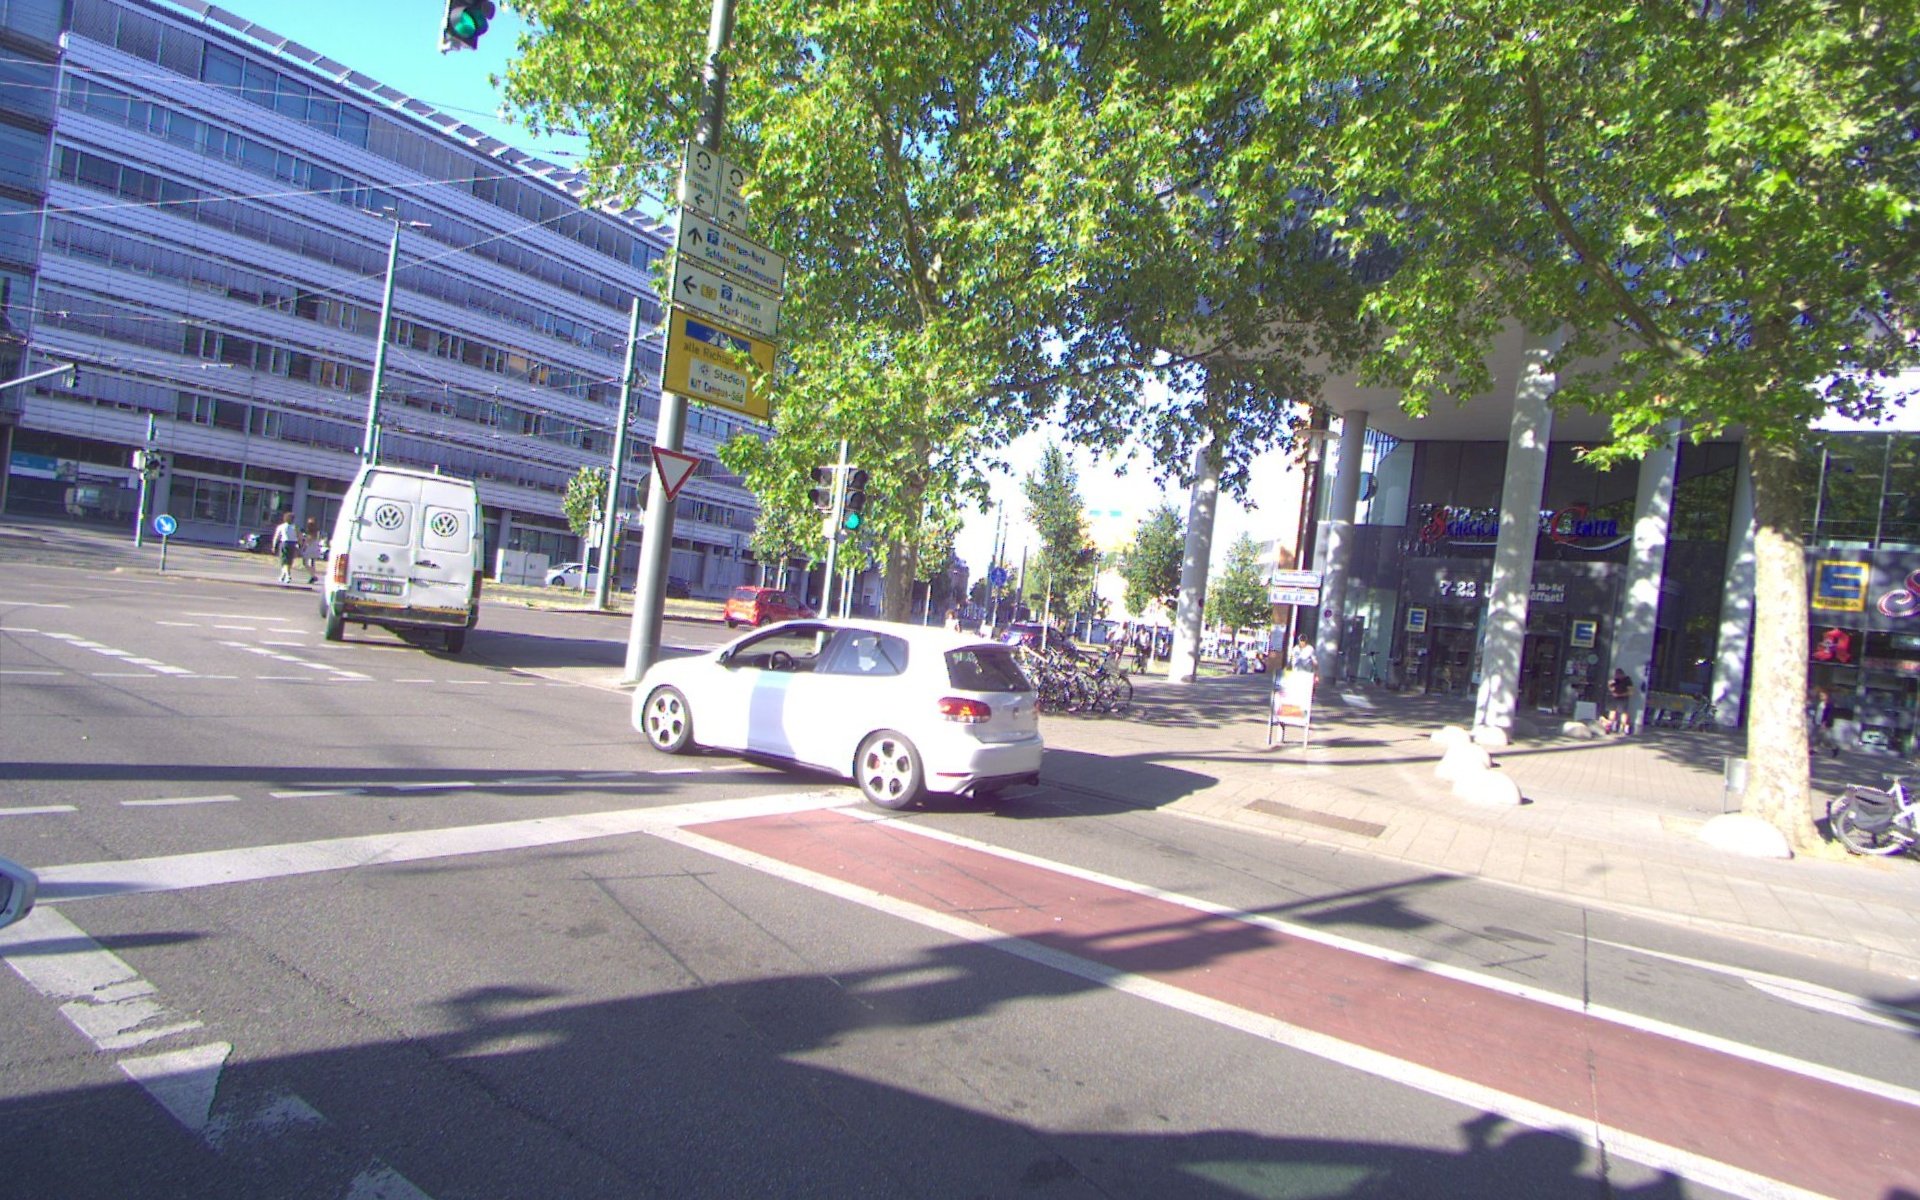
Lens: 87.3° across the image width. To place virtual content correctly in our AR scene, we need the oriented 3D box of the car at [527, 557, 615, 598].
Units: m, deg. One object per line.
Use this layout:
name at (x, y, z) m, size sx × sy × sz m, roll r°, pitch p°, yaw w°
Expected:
car at (-21.092, -1.180, 54.726) m, size 1.852 × 1.614 × 3.991 m, roll 6°, pitch -2°, yaw 35°

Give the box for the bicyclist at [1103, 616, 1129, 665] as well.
bicyclist at (5.057, 1.305, 32.537) m, size 0.581 × 1.504 × 0.750 m, roll 5°, pitch 1°, yaw 19°

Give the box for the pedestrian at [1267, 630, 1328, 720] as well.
pedestrian at (7.681, 1.688, 22.919) m, size 0.800 × 1.913 × 0.871 m, roll 5°, pitch 1°, yaw -16°

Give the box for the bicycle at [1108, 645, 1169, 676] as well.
bicycle at (6.624, 2.243, 37.335) m, size 2.073 × 0.964 × 0.744 m, roll 6°, pitch 1°, yaw -25°

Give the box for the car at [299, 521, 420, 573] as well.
car at (-27.365, -2.379, 45.965) m, size 1.854 × 1.744 × 4.256 m, roll 7°, pitch 0°, yaw 34°

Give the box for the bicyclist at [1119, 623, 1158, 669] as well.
bicyclist at (6.626, 1.708, 37.318) m, size 1.017 × 1.585 × 0.804 m, roll 7°, pitch -1°, yaw -24°

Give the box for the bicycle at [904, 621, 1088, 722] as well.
bicycle at (0.548, 1.136, 16.316) m, size 2.896 × 1.243 × 0.686 m, roll 6°, pitch -1°, yaw 31°

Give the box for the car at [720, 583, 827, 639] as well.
car at (-6.320, 0.406, 34.391) m, size 1.470 × 1.476 × 3.592 m, roll 7°, pitch -1°, yaw 31°

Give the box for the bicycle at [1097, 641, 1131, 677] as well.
bicycle at (4.984, 1.894, 32.472) m, size 0.590 × 1.028 × 2.194 m, roll 6°, pitch 1°, yaw 19°

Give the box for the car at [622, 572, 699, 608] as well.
car at (-18.390, -0.585, 61.903) m, size 1.852 × 1.614 × 4.121 m, roll 6°, pitch -2°, yaw 35°

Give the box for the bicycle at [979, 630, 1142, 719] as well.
bicycle at (1.848, 1.375, 18.889) m, size 2.896 × 1.250 × 0.698 m, roll 6°, pitch -4°, yaw 31°

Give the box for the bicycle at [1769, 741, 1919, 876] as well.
bicycle at (10.877, 2.360, 10.431) m, size 3.759 × 1.234 × 0.756 m, roll 5°, pitch -2°, yaw 38°

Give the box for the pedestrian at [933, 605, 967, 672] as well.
pedestrian at (-0.257, 0.973, 25.537) m, size 0.523 × 1.644 × 0.543 m, roll 7°, pitch 1°, yaw 19°

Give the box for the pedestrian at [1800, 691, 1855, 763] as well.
pedestrian at (22.953, 3.343, 26.635) m, size 0.824 × 1.765 × 0.644 m, roll 7°, pitch 1°, yaw 32°

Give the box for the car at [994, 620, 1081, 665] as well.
car at (3.387, 1.873, 43.385) m, size 1.726 × 1.476 × 4.202 m, roll 7°, pitch -2°, yaw 35°

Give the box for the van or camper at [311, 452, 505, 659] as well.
van or camper at (-9.377, -0.753, 16.720) m, size 1.987 × 2.647 × 6.437 m, roll 7°, pitch 0°, yaw -34°

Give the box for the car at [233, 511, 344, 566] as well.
car at (-33.435, -3.039, 50.194) m, size 1.967 × 2.037 × 3.995 m, roll 6°, pitch -2°, yaw 32°

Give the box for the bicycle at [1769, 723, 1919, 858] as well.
bicycle at (11.383, 2.364, 11.017) m, size 3.757 × 1.235 × 0.727 m, roll 10°, pitch 1°, yaw 38°

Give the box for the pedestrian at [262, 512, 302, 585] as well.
pedestrian at (-17.541, -1.332, 26.041) m, size 0.673 × 1.781 × 0.735 m, roll 6°, pitch 1°, yaw -33°

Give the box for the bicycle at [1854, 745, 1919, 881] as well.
bicycle at (10.137, 2.170, 9.406) m, size 2.514 × 1.234 × 0.756 m, roll 5°, pitch -2°, yaw 37°

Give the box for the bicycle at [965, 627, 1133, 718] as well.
bicycle at (1.575, 1.285, 18.200) m, size 2.896 × 1.252 × 0.705 m, roll 6°, pitch -1°, yaw 31°

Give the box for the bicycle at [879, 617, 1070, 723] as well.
bicycle at (0.185, 1.065, 15.711) m, size 2.896 × 1.252 × 0.705 m, roll 6°, pitch -1°, yaw 31°

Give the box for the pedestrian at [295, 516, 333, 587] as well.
pedestrian at (-17.055, -1.278, 26.573) m, size 0.679 × 1.781 × 0.735 m, roll 6°, pitch 1°, yaw -34°

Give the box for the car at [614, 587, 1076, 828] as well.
car at (-1.135, 0.863, 9.232) m, size 3.921 × 1.445 × 1.638 m, roll 7°, pitch -1°, yaw 32°

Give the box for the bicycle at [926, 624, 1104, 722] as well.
bicycle at (0.893, 1.210, 16.964) m, size 2.896 × 1.252 × 0.705 m, roll 6°, pitch -1°, yaw 32°

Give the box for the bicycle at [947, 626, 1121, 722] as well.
bicycle at (1.254, 1.269, 17.577) m, size 2.896 × 1.251 × 0.705 m, roll 6°, pitch -3°, yaw 31°
